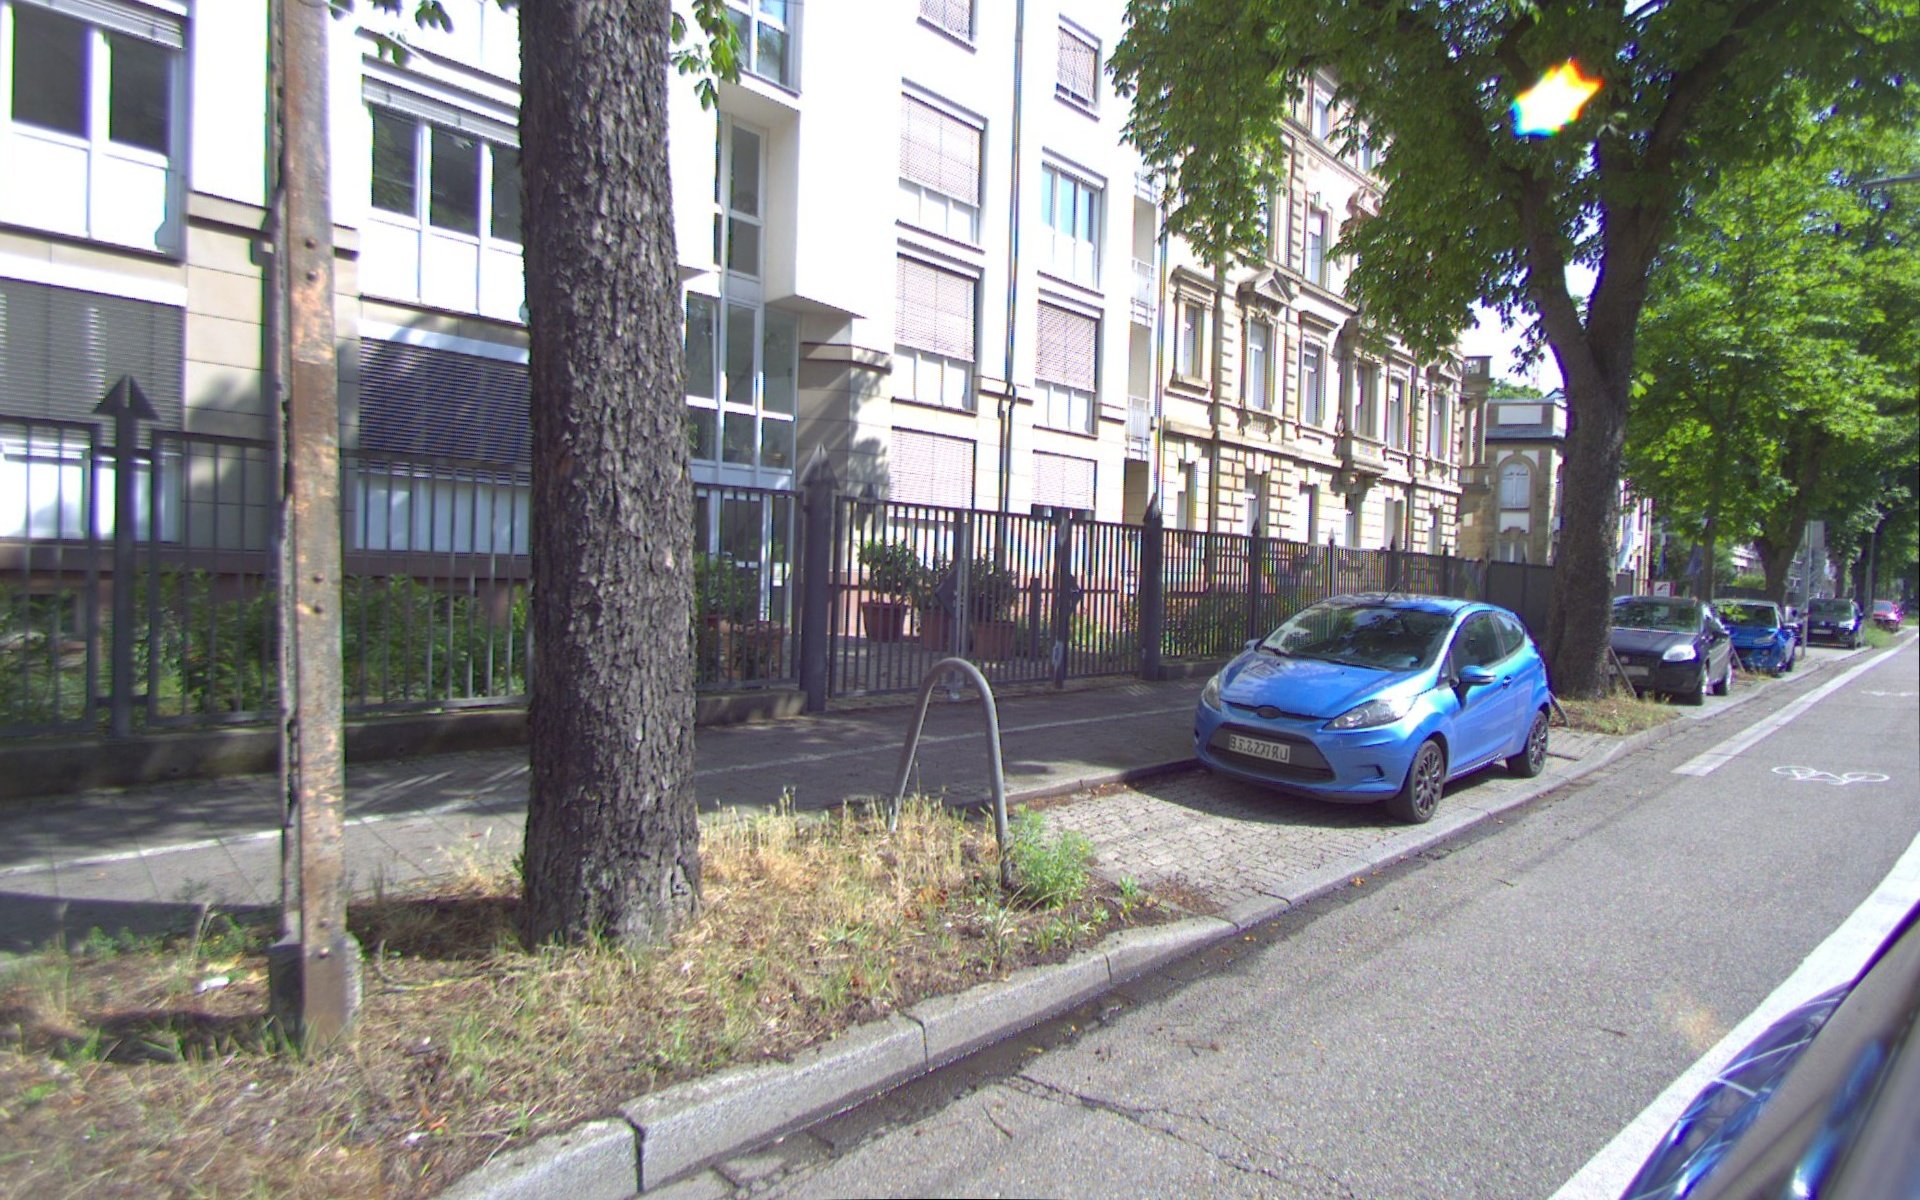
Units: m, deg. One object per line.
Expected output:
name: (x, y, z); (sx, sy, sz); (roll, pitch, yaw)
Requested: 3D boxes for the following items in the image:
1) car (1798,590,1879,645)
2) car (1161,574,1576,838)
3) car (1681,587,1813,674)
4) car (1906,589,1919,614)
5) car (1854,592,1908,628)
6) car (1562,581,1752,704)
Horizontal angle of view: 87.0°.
car: (29.290, 0.531, 33.710); (1.741, 1.592, 3.602); (7, 5, 44)
car: (3.350, 0.628, 7.970); (3.601, 1.493, 1.644); (0, 5, -44)
car: (16.264, 0.562, 20.857); (1.676, 1.493, 3.602); (7, 5, 44)
car: (63.158, 0.133, 66.123); (1.741, 1.592, 3.867); (7, 5, 44)
car: (45.271, 0.462, 49.728); (1.741, 1.592, 3.867); (7, 5, 44)
car: (10.511, 0.544, 15.166); (1.676, 1.493, 3.602); (7, 5, 44)
